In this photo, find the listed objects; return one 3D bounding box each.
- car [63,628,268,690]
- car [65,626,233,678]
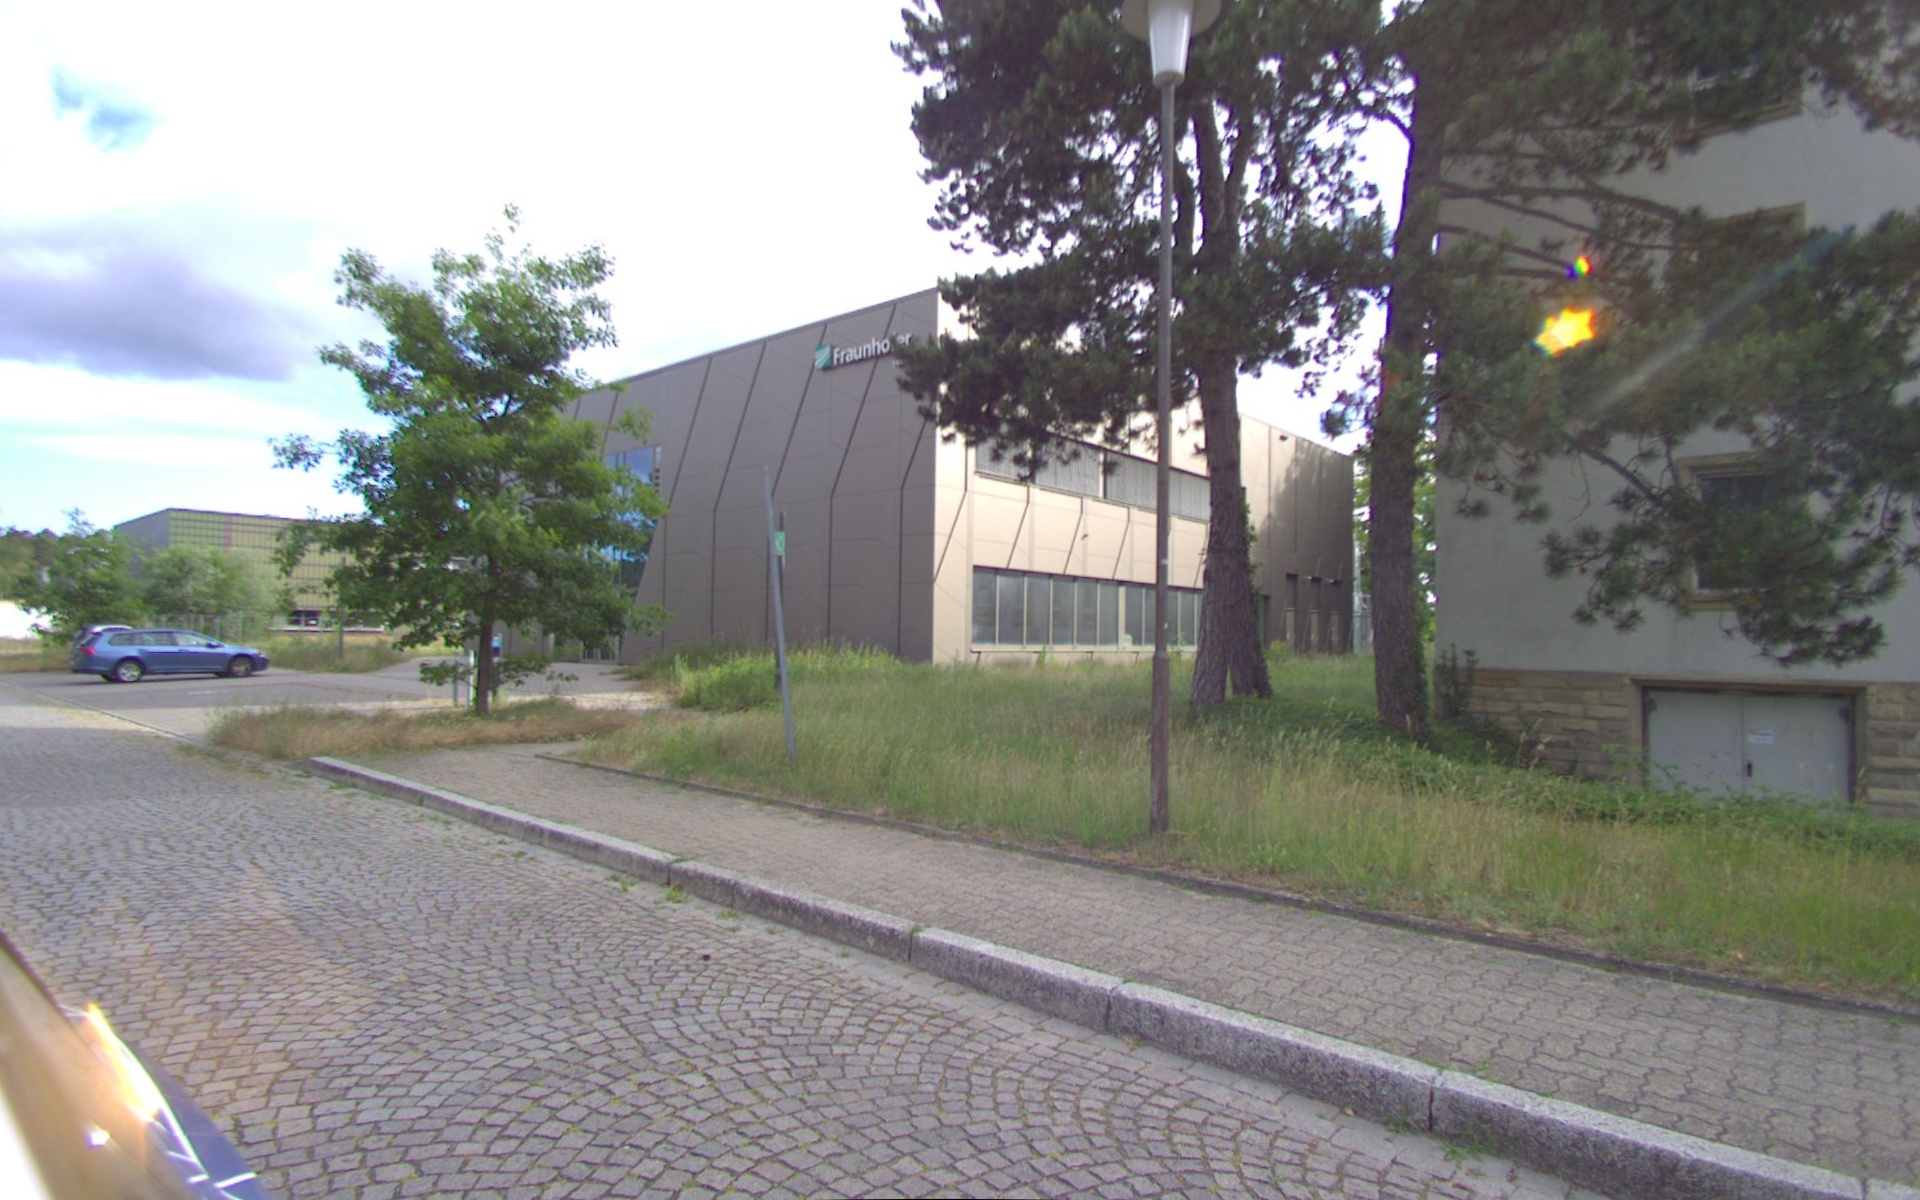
[{"bbox_3d":[-22.500,1.608,28.812,1.715,1.522,4.350,-1,-1,38],"label":"car"},{"bbox_3d":[-27.420,1.706,34.307,4.339,1.558,1.843,0,-1,-43],"label":"car"}]
